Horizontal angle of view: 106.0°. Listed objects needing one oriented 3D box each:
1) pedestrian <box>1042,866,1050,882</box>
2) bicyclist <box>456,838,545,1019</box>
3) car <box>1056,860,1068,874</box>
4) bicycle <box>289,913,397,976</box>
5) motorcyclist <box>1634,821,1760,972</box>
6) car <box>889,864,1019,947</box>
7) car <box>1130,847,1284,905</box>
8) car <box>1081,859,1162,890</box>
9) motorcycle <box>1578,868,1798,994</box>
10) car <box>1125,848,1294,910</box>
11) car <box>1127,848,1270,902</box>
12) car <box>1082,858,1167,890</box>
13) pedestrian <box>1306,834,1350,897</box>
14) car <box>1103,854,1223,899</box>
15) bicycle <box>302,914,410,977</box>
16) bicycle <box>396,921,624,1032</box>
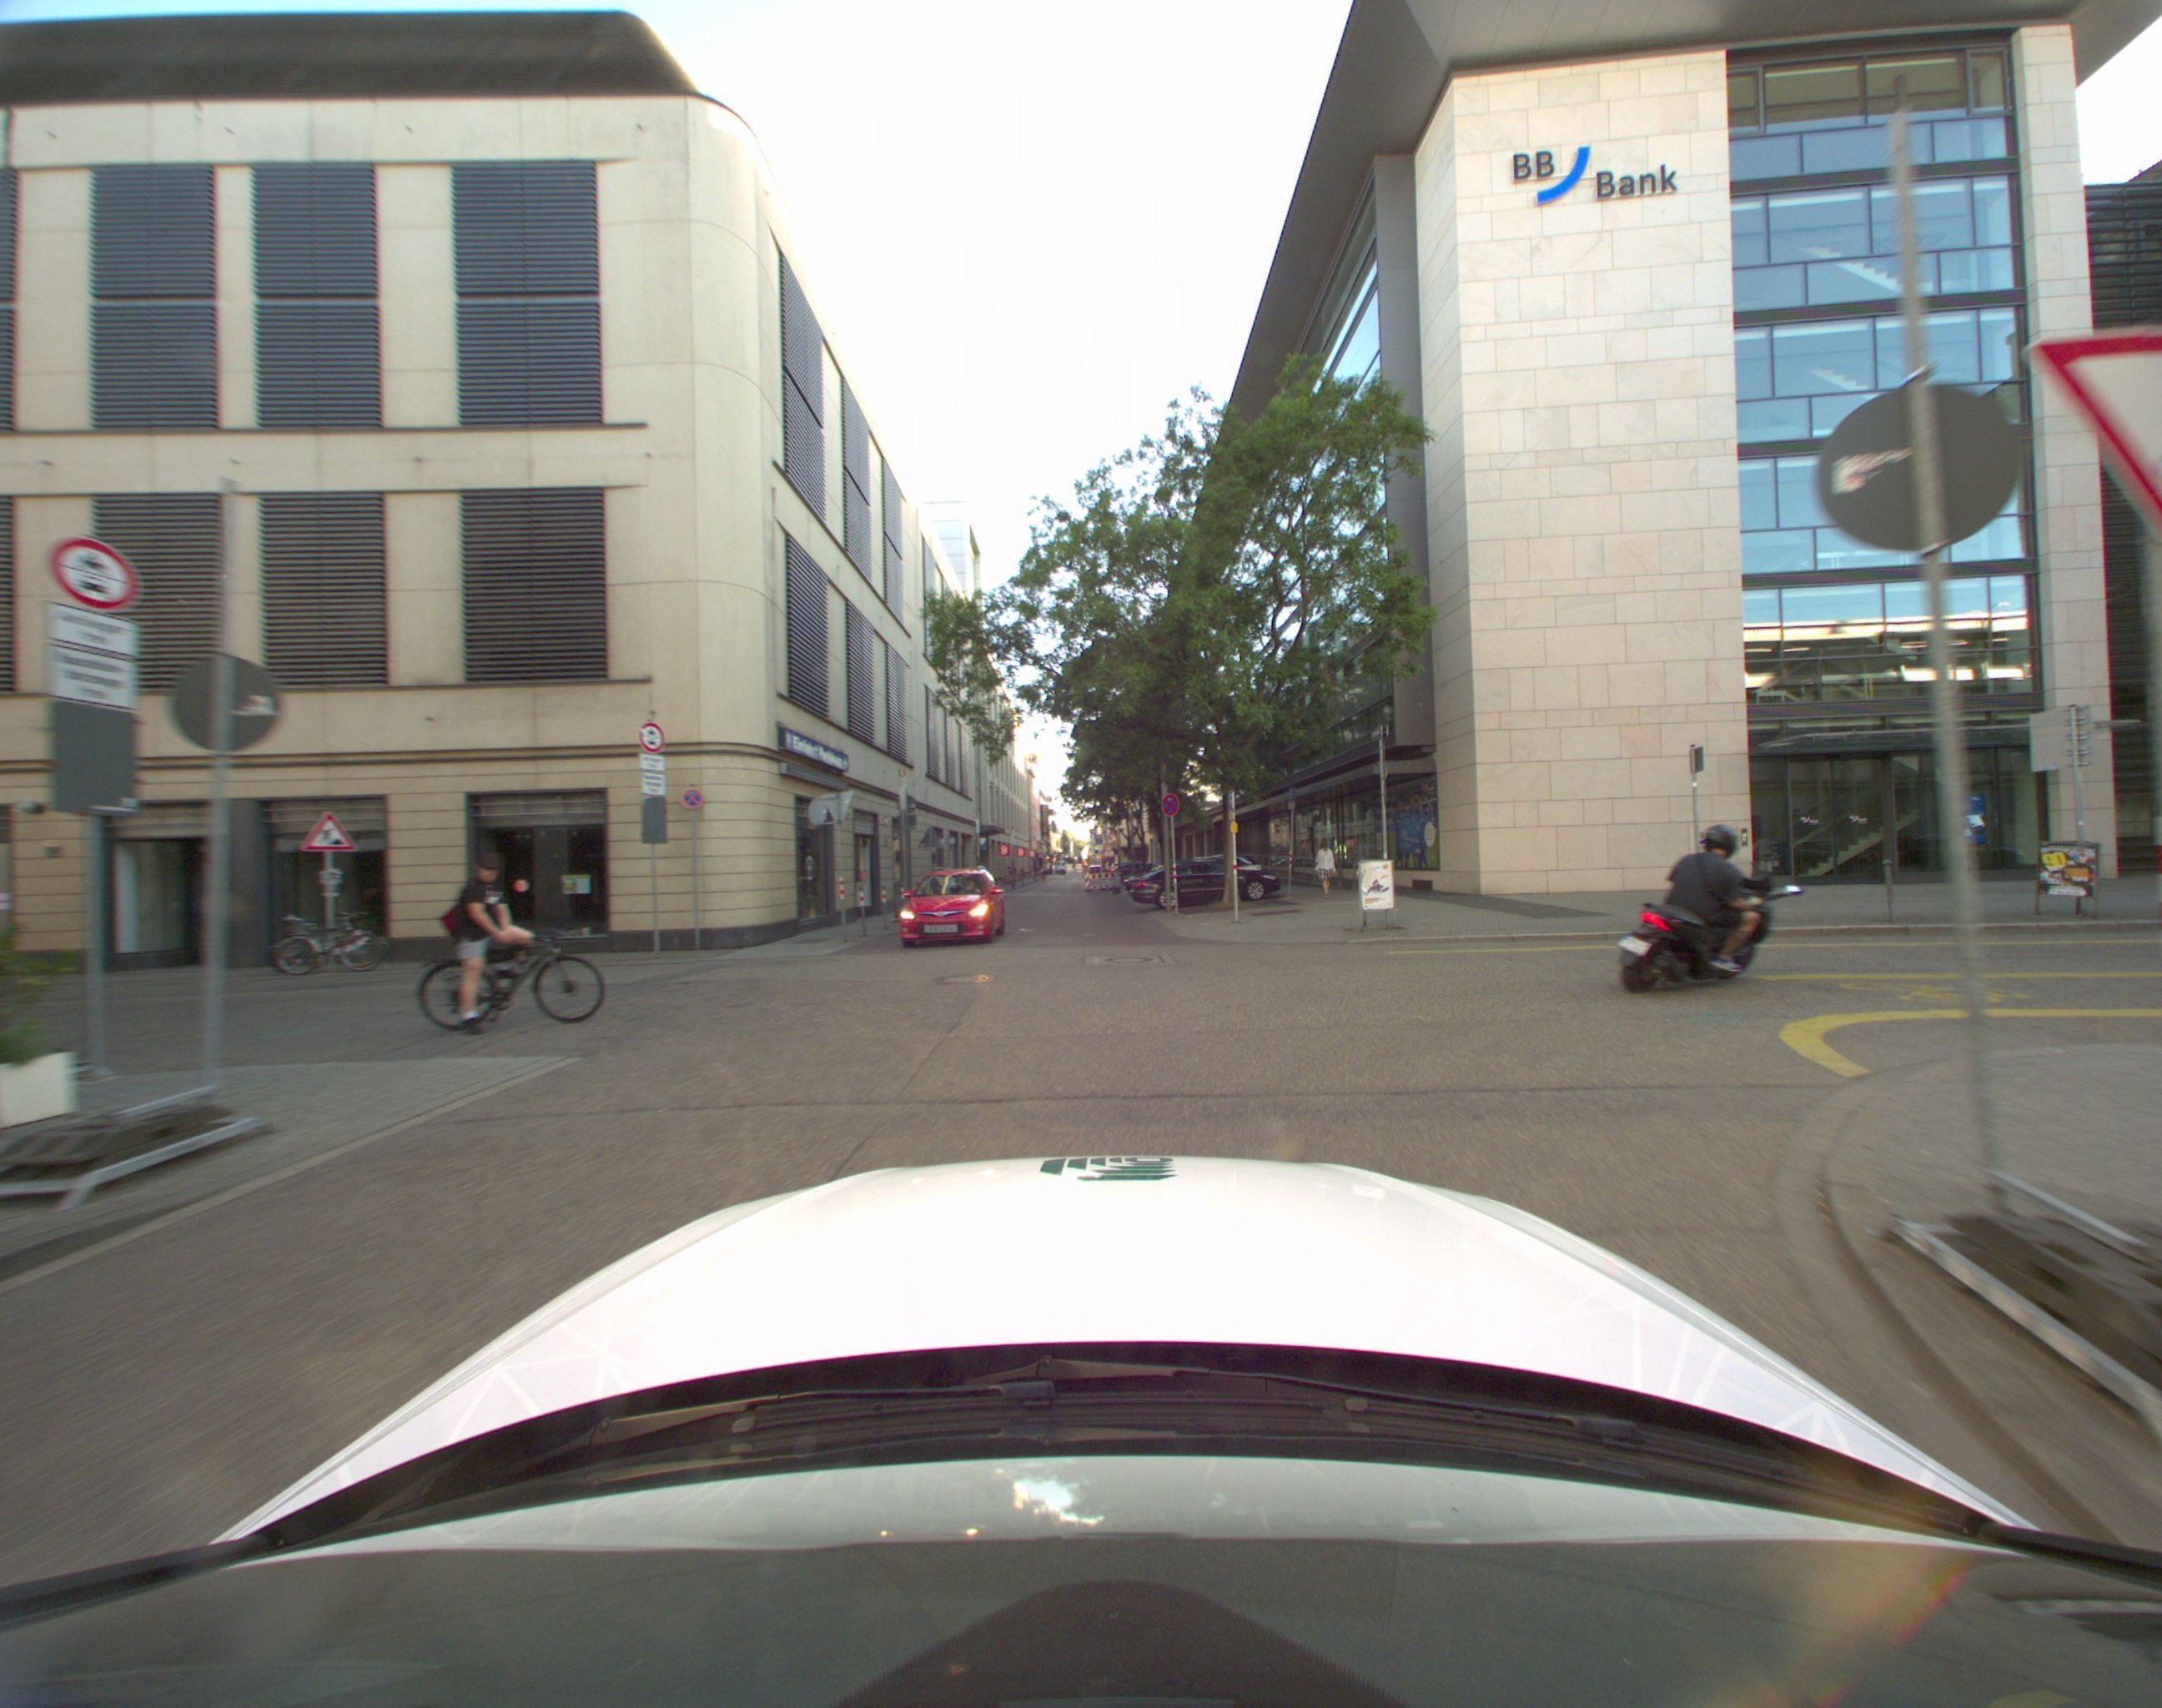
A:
[{"bbox_3d":[-3.555,2.024,82.103,0.729,1.574,0.636,-1,-1,1],"label":"pedestrian"},{"bbox_3d":[-5.774,0.721,8.124,0.550,1.732,0.500,-1,-2,-8],"label":"bicyclist"},{"bbox_3d":[-3.291,2.228,138.560,1.988,2.329,5.017,0,-1,-2],"label":"car"},{"bbox_3d":[-14.259,1.730,15.785,0.349,1.033,1.527,-3,0,21],"label":"bicycle"},{"bbox_3d":[6.131,0.407,8.145,0.455,1.427,0.864,-1,-2,-19],"label":"motorcyclist"},{"bbox_3d":[-2.491,1.019,17.038,1.815,1.465,4.265,-2,-2,3],"label":"car"},{"bbox_3d":[4.366,0.771,28.692,4.992,1.499,1.998,-6,-1,-2],"label":"car"},{"bbox_3d":[2.586,1.353,52.878,4.992,1.499,1.998,-6,-1,-2],"label":"car"},{"bbox_3d":[6.031,0.713,8.106,1.840,1.109,0.869,-1,-1,-20],"label":"motorcycle"},{"bbox_3d":[4.027,0.783,26.102,4.992,1.451,1.998,-6,-1,-2],"label":"car"},{"bbox_3d":[4.377,0.780,30.903,4.992,1.499,1.998,-6,-1,-2],"label":"car"},{"bbox_3d":[2.630,1.229,50.334,4.992,1.499,1.998,-6,-1,-2],"label":"car"},{"bbox_3d":[7.145,0.334,23.634,0.902,1.706,0.834,-5,-2,1],"label":"pedestrian"},{"bbox_3d":[3.591,0.994,36.168,4.992,1.499,1.998,-6,-1,-2],"label":"car"},{"bbox_3d":[-13.898,1.723,15.657,0.349,1.033,1.527,-3,0,21],"label":"bicycle"},{"bbox_3d":[-5.642,1.198,8.127,1.813,0.974,0.510,-1,-1,-9],"label":"bicycle"}]
